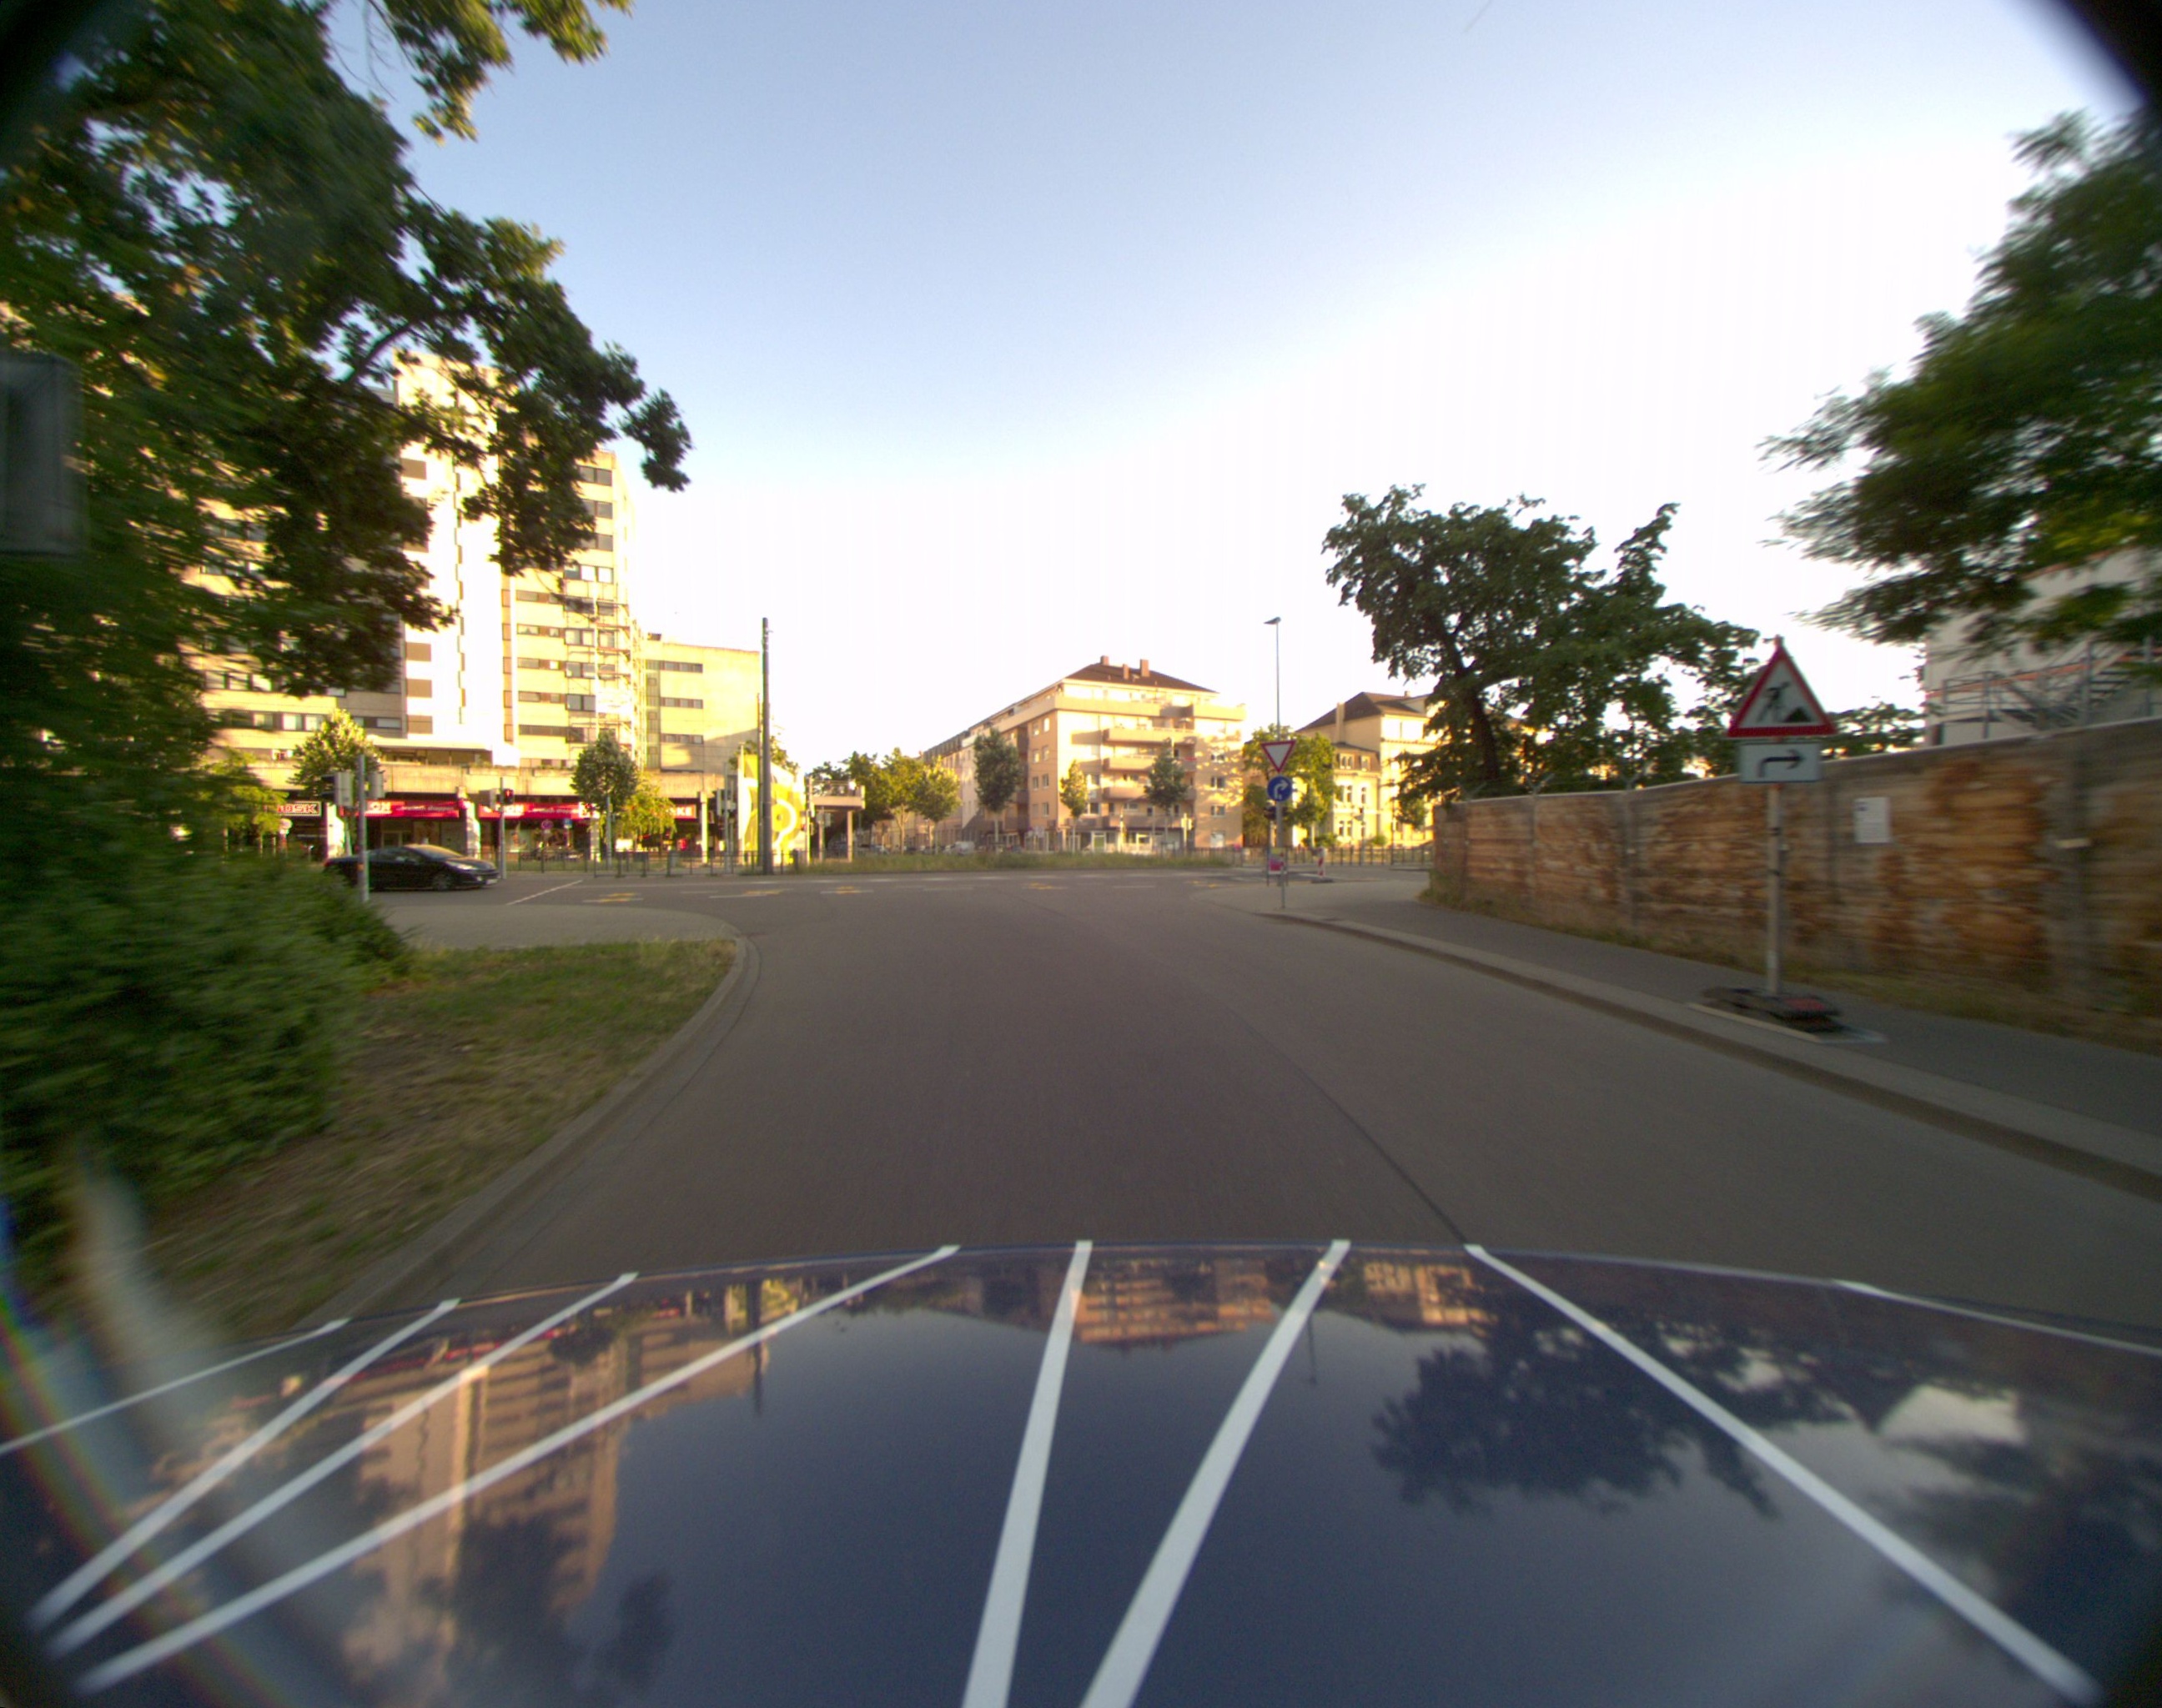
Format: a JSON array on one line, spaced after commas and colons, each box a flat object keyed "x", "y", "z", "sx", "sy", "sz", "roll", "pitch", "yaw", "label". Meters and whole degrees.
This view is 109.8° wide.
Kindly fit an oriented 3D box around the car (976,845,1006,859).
[{"x": -9.571, "y": -0.240, "z": 80.644, "sx": 2.002, "sy": 1.477, "sz": 3.991, "roll": -1, "pitch": 1, "yaw": -25, "label": "car"}]

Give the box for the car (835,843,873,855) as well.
[{"x": -29.933, "y": -0.716, "z": 100.232, "sx": 4.650, "sy": 1.551, "sz": 1.996, "roll": -1, "pitch": 2, "yaw": -24, "label": "car"}]

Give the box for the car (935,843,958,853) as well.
[{"x": -17.302, "y": -0.783, "z": 97.584, "sx": 2.002, "sy": 1.237, "sz": 3.991, "roll": -1, "pitch": 1, "yaw": -25, "label": "car"}]

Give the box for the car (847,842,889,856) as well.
[{"x": -25.859, "y": -0.623, "z": 92.127, "sx": 4.650, "sy": 1.551, "sz": 1.996, "roll": -1, "pitch": 2, "yaw": -24, "label": "car"}]

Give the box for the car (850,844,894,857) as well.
[{"x": -23.987, "y": -0.451, "z": 87.094, "sx": 4.650, "sy": 1.390, "sz": 1.996, "roll": -1, "pitch": 2, "yaw": -24, "label": "car"}]

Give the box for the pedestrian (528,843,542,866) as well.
[{"x": -38.592, "y": 0.039, "z": 53.726, "sx": 0.727, "sy": 1.604, "sz": 0.655, "roll": -1, "pitch": 2, "yaw": -29, "label": "pedestrian"}]

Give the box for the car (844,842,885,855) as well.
[{"x": -26.864, "y": -0.673, "z": 94.190, "sx": 4.650, "sy": 1.551, "sz": 1.996, "roll": -1, "pitch": 2, "yaw": -24, "label": "car"}]

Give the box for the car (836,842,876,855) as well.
[{"x": -28.884, "y": -0.715, "z": 97.477, "sx": 4.650, "sy": 1.551, "sz": 1.996, "roll": -1, "pitch": 2, "yaw": -24, "label": "car"}]

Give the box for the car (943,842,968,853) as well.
[{"x": -15.491, "y": -0.803, "z": 93.639, "sx": 2.002, "sy": 1.237, "sz": 3.991, "roll": -1, "pitch": 1, "yaw": -25, "label": "car"}]

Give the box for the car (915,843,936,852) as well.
[{"x": -21.821, "y": -0.885, "z": 106.399, "sx": 2.002, "sy": 1.237, "sz": 3.991, "roll": -1, "pitch": 1, "yaw": -25, "label": "car"}]

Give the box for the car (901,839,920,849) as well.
[{"x": -26.061, "y": -1.554, "z": 116.108, "sx": 2.002, "sy": 1.521, "sz": 3.991, "roll": -1, "pitch": 1, "yaw": -25, "label": "car"}]

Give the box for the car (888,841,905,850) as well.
[{"x": -29.997, "y": -1.402, "z": 123.291, "sx": 2.002, "sy": 1.521, "sz": 3.991, "roll": -1, "pitch": 1, "yaw": -25, "label": "car"}]

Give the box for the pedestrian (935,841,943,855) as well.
[{"x": -20.614, "y": -0.887, "z": 110.485, "sx": 0.893, "sy": 2.002, "sz": 0.769, "roll": -1, "pitch": 2, "yaw": -25, "label": "pedestrian"}]

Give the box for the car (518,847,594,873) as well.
[{"x": -33.473, "y": 0.362, "z": 48.422, "sx": 4.334, "sy": 1.552, "sz": 1.965, "roll": 0, "pitch": 2, "yaw": 24, "label": "car"}]

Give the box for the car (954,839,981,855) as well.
[{"x": -13.207, "y": -0.825, "z": 88.188, "sx": 2.002, "sy": 1.740, "sz": 3.991, "roll": -1, "pitch": 2, "yaw": -25, "label": "car"}]

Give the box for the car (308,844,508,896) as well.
[{"x": -19.372, "y": 0.428, "z": 22.063, "sx": 3.910, "sy": 1.380, "sz": 1.798, "roll": -1, "pitch": 2, "yaw": -13, "label": "car"}]

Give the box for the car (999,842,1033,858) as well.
[{"x": -6.308, "y": -0.415, "z": 72.887, "sx": 2.002, "sy": 1.477, "sz": 3.991, "roll": -1, "pitch": 1, "yaw": -25, "label": "car"}]
